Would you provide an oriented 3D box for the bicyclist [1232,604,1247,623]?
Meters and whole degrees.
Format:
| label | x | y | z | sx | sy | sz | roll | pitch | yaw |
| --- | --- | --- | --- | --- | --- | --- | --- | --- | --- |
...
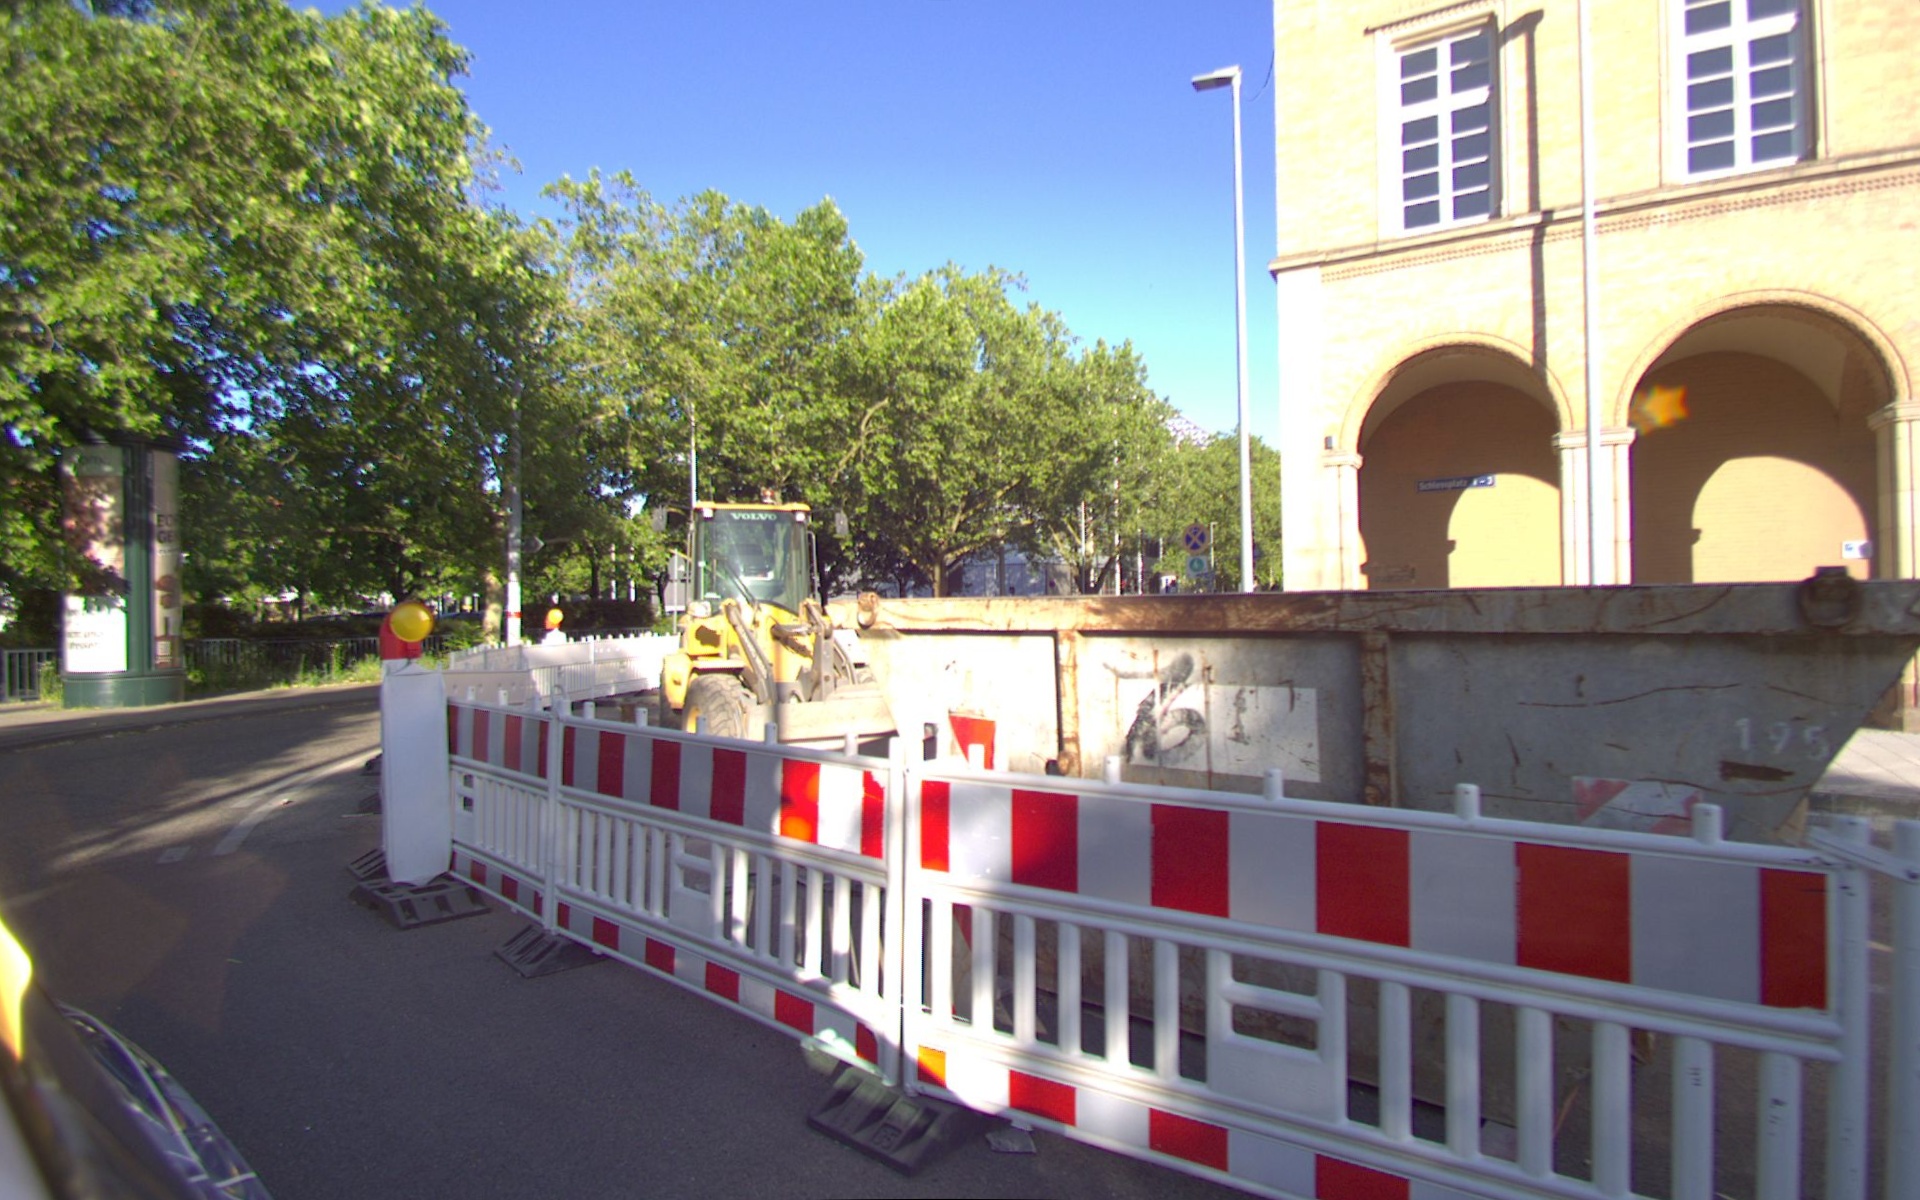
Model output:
| label | x | y | z | sx | sy | sz | roll | pitch | yaw |
| --- | --- | --- | --- | --- | --- | --- | --- | --- | --- |
| bicyclist | 24.852 | 1.170 | 89.863 | 0.948 | 1.652 | 0.996 | -3 | -2 | 35 |

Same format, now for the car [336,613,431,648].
| label | x | y | z | sx | sy | sz | roll | pitch | yaw |
| --- | --- | --- | --- | --- | --- | --- | --- | --- | --- |
| car | -28.875 | 1.493 | 50.788 | 1.545 | 1.638 | 3.963 | -3 | -2 | 27 |

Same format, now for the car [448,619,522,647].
| label | x | y | z | sx | sy | sz | roll | pitch | yaw |
| --- | --- | --- | --- | --- | --- | --- | --- | --- | --- |
| car | -30.426 | 2.081 | 64.870 | 1.915 | 1.638 | 3.963 | -3 | -2 | 27 |

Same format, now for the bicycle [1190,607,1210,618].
| label | x | y | z | sx | sy | sz | roll | pitch | yaw |
| --- | --- | --- | --- | --- | --- | --- | --- | --- | --- |
| bicycle | 21.265 | 1.100 | 89.549 | 1.614 | 1.006 | 0.622 | 0 | 2 | 2 |

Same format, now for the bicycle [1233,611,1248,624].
| label | x | y | z | sx | sy | sz | roll | pitch | yaw |
| --- | --- | --- | --- | --- | --- | --- | --- | --- | --- |
| bicycle | 24.936 | 1.546 | 89.880 | 0.702 | 1.075 | 1.905 | -2 | -3 | 34 |

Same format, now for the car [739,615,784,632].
| label | x | y | z | sx | sy | sz | roll | pitch | yaw |
| --- | --- | --- | --- | --- | --- | --- | --- | --- | --- |
| car | -18.313 | 2.172 | 93.430 | 3.829 | 1.496 | 1.616 | -1 | -1 | 25 |

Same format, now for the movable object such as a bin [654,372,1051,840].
| label | x | y | z | sx | sy | sz | roll | pitch | yaw |
| --- | --- | --- | --- | --- | --- | --- | --- | --- | --- |
| movable object such as a bin | -1.518 | 0.055 | 9.829 | 2.523 | 3.054 | 5.950 | 0 | 0 | -19 |

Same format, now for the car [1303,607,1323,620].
| label | x | y | z | sx | sy | sz | roll | pitch | yaw |
| --- | --- | --- | --- | --- | --- | --- | --- | --- | --- |
| car | 43.931 | 1.651 | 125.946 | 1.778 | 1.541 | 4.617 | -2 | -1 | 25 |

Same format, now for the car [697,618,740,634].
| label | x | y | z | sx | sy | sz | roll | pitch | yaw |
| --- | --- | --- | --- | --- | --- | --- | --- | --- | --- |
| car | -22.679 | 2.449 | 94.988 | 3.829 | 1.496 | 1.616 | -1 | -1 | 25 |
